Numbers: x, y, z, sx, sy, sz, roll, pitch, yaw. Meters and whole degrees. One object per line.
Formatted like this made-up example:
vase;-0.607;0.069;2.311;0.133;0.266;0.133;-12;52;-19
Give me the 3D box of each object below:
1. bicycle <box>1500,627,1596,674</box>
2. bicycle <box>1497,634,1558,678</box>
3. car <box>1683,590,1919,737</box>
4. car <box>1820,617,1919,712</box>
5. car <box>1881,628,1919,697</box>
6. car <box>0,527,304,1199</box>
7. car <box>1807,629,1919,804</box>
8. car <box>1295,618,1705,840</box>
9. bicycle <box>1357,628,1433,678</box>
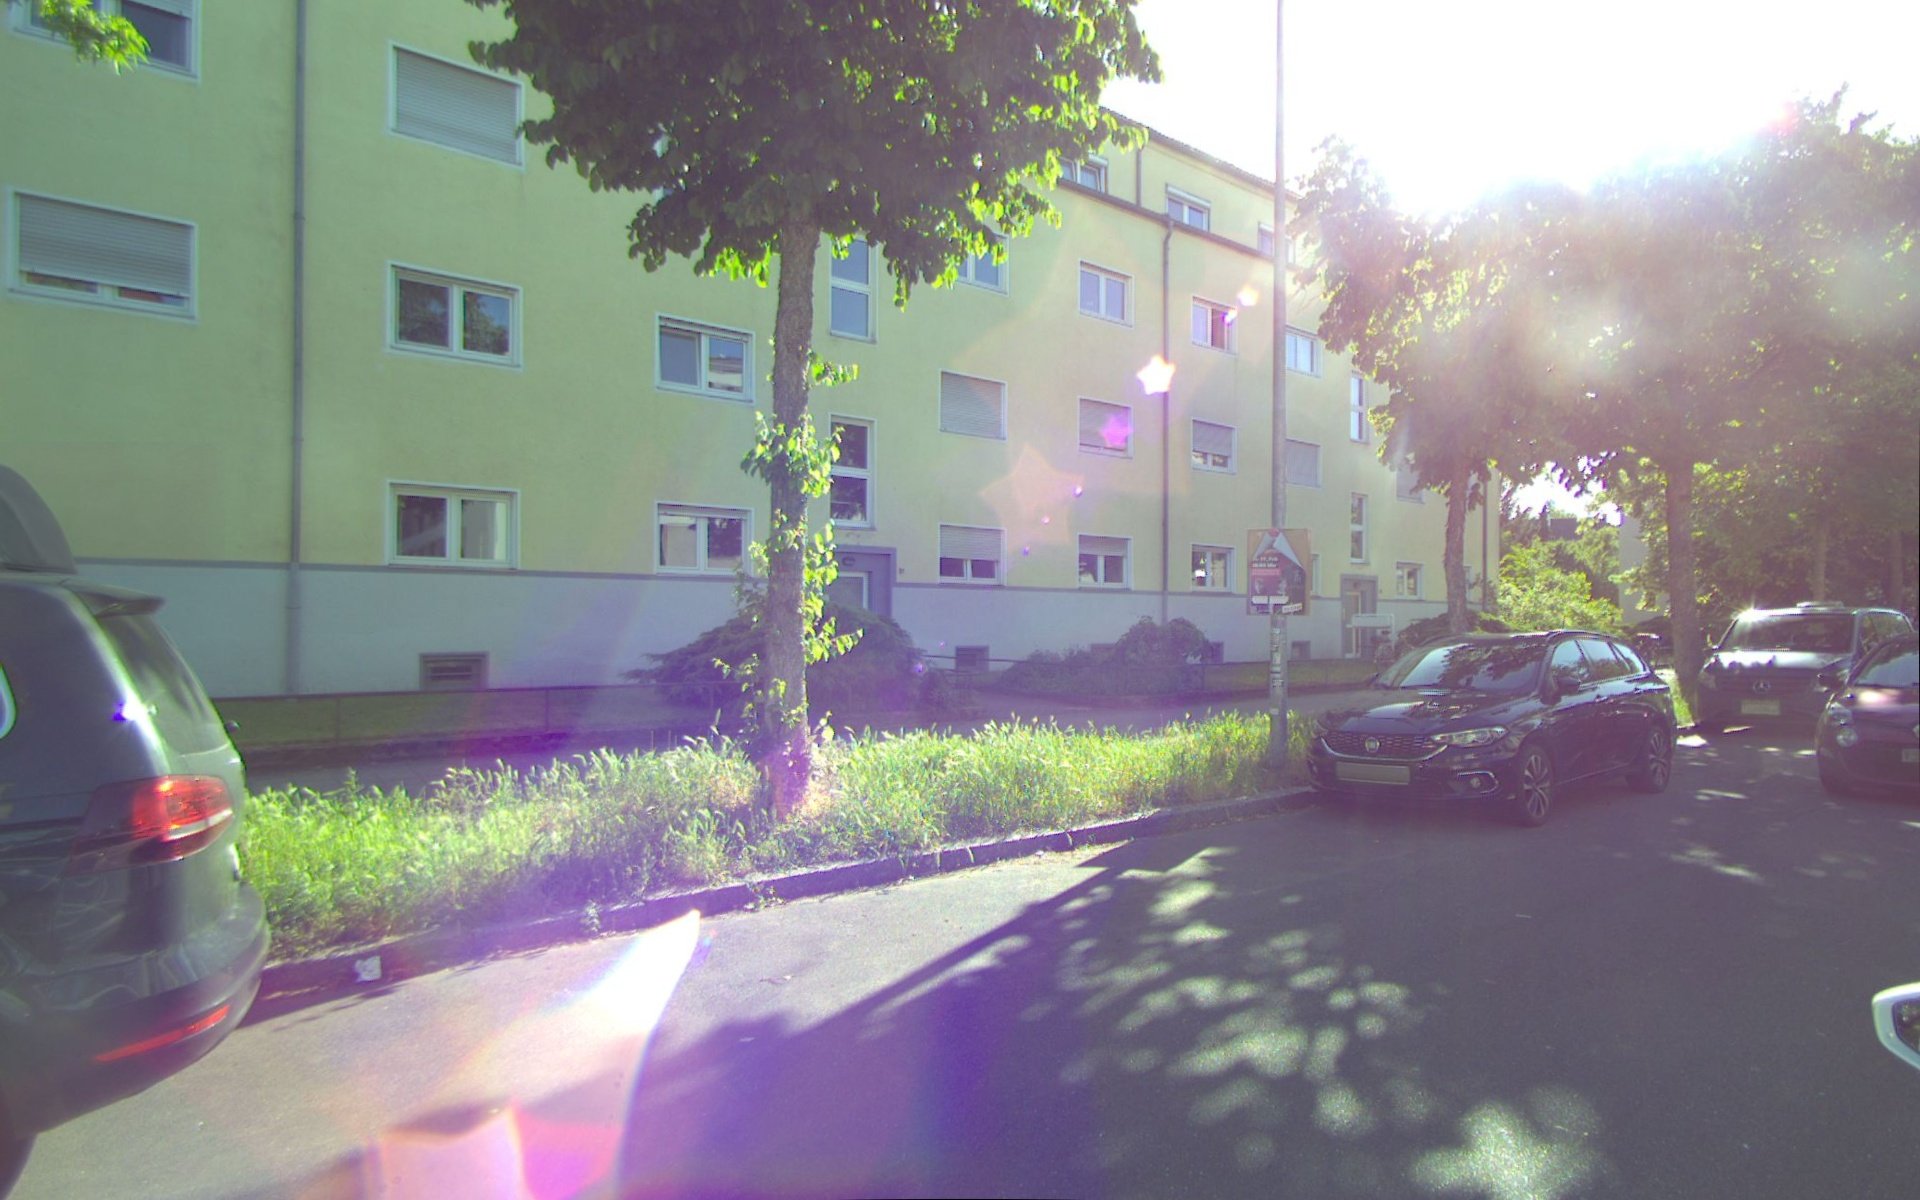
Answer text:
bicycle;15.635;1.321;26.757;2.122;1.224;0.686;-1;-2;43
bicycle;13.817;1.344;24.428;1.910;1.005;0.590;1;-1;-38
car;13.190;0.912;15.535;5.094;1.929;1.813;1;-3;-37
car;17.742;1.159;18.964;4.195;1.632;1.599;1;-2;-40
car;21.880;1.346;22.211;4.022;1.446;1.600;1;-2;-38
car;-4.253;0.707;1.902;4.932;1.702;1.836;1;-4;-38
car;9.283;0.996;9.287;3.147;1.445;1.495;1;-2;-36
car;5.101;0.994;9.171;4.736;1.568;1.496;1;-4;-38
bicycle;9.073;1.085;20.917;1.910;1.005;0.590;1;-1;-38
